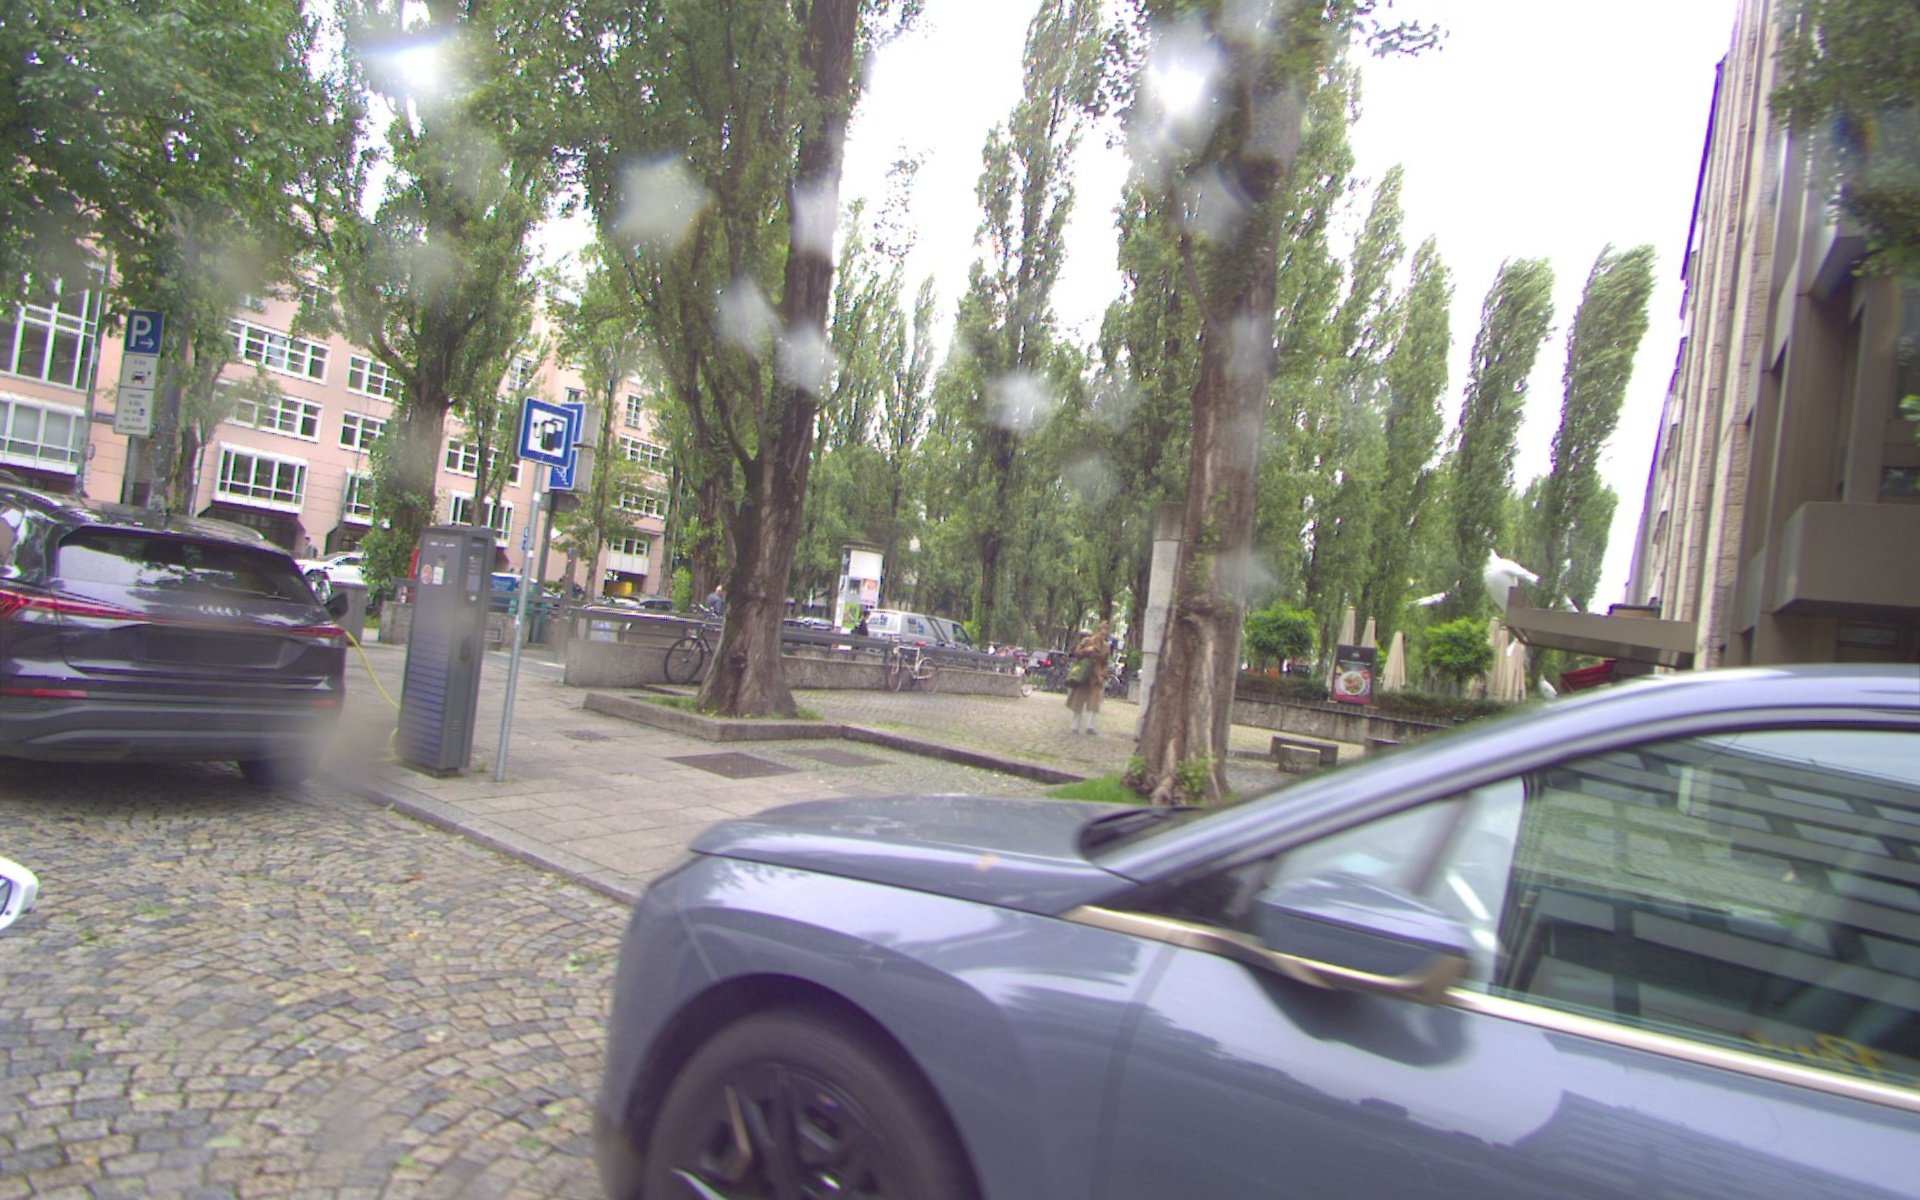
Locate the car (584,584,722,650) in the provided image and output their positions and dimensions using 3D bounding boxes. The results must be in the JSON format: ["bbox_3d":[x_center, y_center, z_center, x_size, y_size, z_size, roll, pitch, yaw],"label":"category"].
[{"bbox_3d":[-9.785,0.590,32.327,1.720,1.544,3.901,8,-2,34],"label":"car"}]

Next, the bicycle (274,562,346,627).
[{"bbox_3d":[-12.413,-0.116,19.190,1.806,1.050,0.512,5,-2,38],"label":"bicycle"}]

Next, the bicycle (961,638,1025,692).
[{"bbox_3d":[0.837,1.632,24.925,0.578,1.173,1.866,7,-2,34],"label":"bicycle"}]

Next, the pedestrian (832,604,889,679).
[{"bbox_3d":[-2.752,1.152,27.830,0.905,1.888,1.011,7,-1,38],"label":"pedestrian"}]

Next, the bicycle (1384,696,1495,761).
[{"bbox_3d":[11.356,3.018,23.843,2.209,1.169,0.647,7,-1,33],"label":"bicycle"}]

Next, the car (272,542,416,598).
[{"bbox_3d":[-23.453,-1.118,38.429,1.778,1.559,4.224,5,-3,35],"label":"car"}]

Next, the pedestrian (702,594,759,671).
[{"bbox_3d":[-5.220,0.750,22.874,0.688,1.625,0.831,7,-1,38],"label":"pedestrian"}]

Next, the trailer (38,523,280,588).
[{"bbox_3d":[-26.798,-1.452,33.930,2.366,1.213,5.918,7,-2,34],"label":"trailer"}]

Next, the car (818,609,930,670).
[{"bbox_3d":[-3.503,1.687,42.103,1.885,1.946,5.034,8,-1,31],"label":"car"}]

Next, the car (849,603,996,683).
[{"bbox_3d":[-1.104,1.447,32.559,1.786,1.917,5.194,7,-3,35],"label":"car"}]

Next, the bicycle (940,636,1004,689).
[{"bbox_3d":[0.319,1.585,25.256,0.578,1.173,1.866,7,-2,34],"label":"bicycle"}]

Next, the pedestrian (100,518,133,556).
[{"bbox_3d":[-33.990,-2.520,40.523,0.698,1.385,0.730,7,-1,34],"label":"pedestrian"}]

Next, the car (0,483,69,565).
[{"bbox_3d":[-29.755,-2.537,29.094,1.991,2.222,5.488,7,-2,33],"label":"car"}]

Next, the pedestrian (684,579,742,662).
[{"bbox_3d":[-5.797,0.485,23.604,0.739,1.824,0.840,7,-1,38],"label":"pedestrian"}]

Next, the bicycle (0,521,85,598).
[{"bbox_3d":[-14.798,-0.662,16.093,1.844,1.063,0.475,6,-1,28],"label":"bicycle"}]

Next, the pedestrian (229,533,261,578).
[{"bbox_3d":[-29.774,-1.855,41.885,0.698,1.733,0.730,7,-1,34],"label":"pedestrian"}]

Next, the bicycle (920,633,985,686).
[{"bbox_3d":[-0.172,1.530,25.604,0.578,1.173,1.866,7,-2,34],"label":"bicycle"}]

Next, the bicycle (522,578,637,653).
[{"bbox_3d":[-7.191,0.304,19.097,0.580,1.173,1.860,6,-2,44],"label":"bicycle"}]

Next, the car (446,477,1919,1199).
[{"bbox_3d":[1.438,0.923,1.864,4.595,1.719,2.018,7,-2,31],"label":"car"}]

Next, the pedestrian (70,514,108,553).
[{"bbox_3d":[-34.559,-2.640,39.929,0.718,1.385,0.710,7,-1,4],"label":"pedestrian"}]

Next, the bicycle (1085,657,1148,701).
[{"bbox_3d":[5.170,2.605,33.274,1.840,1.173,0.586,7,-1,35],"label":"bicycle"}]

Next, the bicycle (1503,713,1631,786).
[{"bbox_3d":[12.993,3.184,21.591,2.209,1.169,0.647,7,-1,33],"label":"bicycle"}]

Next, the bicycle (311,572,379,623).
[{"bbox_3d":[-12.167,-0.058,19.877,1.806,0.827,0.470,5,-2,38],"label":"bicycle"}]

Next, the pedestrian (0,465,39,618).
[{"bbox_3d":[-11.206,-0.708,11.468,0.602,1.700,0.842,7,-1,42],"label":"pedestrian"}]

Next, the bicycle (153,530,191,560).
[{"bbox_3d":[-35.184,-2.451,44.908,1.957,1.137,0.674,7,-1,34],"label":"bicycle"}]

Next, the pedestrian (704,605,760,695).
[{"bbox_3d":[-4.666,1.020,20.581,0.686,1.720,0.656,8,-1,-42],"label":"pedestrian"}]

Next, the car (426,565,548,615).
[{"bbox_3d":[-20.586,-0.418,43.947,1.967,1.559,4.319,7,-2,31],"label":"car"}]

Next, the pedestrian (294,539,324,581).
[{"bbox_3d":[-29.253,-1.805,45.203,0.698,1.733,0.730,7,-1,34],"label":"pedestrian"}]

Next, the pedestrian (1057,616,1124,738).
[{"bbox_3d":[1.860,1.089,14.423,0.707,1.625,0.709,7,-1,4],"label":"pedestrian"}]

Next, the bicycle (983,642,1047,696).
[{"bbox_3d":[1.356,1.701,24.577,0.578,1.173,1.866,7,-2,34],"label":"bicycle"}]

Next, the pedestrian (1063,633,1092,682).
[{"bbox_3d":[4.722,2.307,40.431,0.689,1.862,0.704,7,-1,36],"label":"pedestrian"}]

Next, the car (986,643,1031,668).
[{"bbox_3d":[3.939,4.508,81.696,1.738,1.597,3.966,7,-2,33],"label":"car"}]

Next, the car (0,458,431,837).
[{"bbox_3d":[-5.611,0.123,6.429,4.131,1.719,1.925,7,-2,31],"label":"car"}]

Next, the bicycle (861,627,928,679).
[{"bbox_3d":[-1.652,1.375,25.820,0.578,1.173,1.866,7,-2,34],"label":"bicycle"}]

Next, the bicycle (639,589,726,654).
[{"bbox_3d":[-5.822,0.480,21.237,0.577,1.173,1.870,7,-2,24],"label":"bicycle"}]

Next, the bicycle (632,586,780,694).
[{"bbox_3d":[-3.509,0.588,14.066,0.710,1.291,1.866,7,-2,34],"label":"bicycle"}]

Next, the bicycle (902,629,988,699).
[{"bbox_3d":[-0.261,1.244,19.334,0.578,1.173,1.866,7,-2,34],"label":"bicycle"}]

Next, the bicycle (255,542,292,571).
[{"bbox_3d":[-33.001,-2.088,48.344,2.073,1.137,0.674,7,-1,34],"label":"bicycle"}]

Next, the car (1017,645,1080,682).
[{"bbox_3d":[4.894,3.532,55.389,1.719,1.609,3.947,8,-1,31],"label":"car"}]

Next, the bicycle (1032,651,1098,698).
[{"bbox_3d":[3.246,2.302,31.154,1.840,1.173,0.586,6,-1,35],"label":"bicycle"}]

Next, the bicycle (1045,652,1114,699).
[{"bbox_3d":[3.744,2.361,31.579,2.000,1.173,0.586,6,-1,35],"label":"bicycle"}]

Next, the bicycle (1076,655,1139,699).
[{"bbox_3d":[4.779,2.506,32.746,1.840,1.173,0.586,6,-1,35],"label":"bicycle"}]

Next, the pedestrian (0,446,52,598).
[{"bbox_3d":[-11.397,-0.951,11.870,0.655,1.716,0.802,7,-1,42],"label":"pedestrian"}]

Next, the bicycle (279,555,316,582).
[{"bbox_3d":[-32.469,-1.550,49.292,1.957,1.137,0.674,7,-1,34],"label":"bicycle"}]

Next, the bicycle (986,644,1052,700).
[{"bbox_3d":[1.414,1.728,23.920,0.578,1.173,1.866,7,-2,34],"label":"bicycle"}]

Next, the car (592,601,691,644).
[{"bbox_3d":[-15.835,1.144,50.182,1.968,1.559,4.316,7,-2,34],"label":"car"}]
